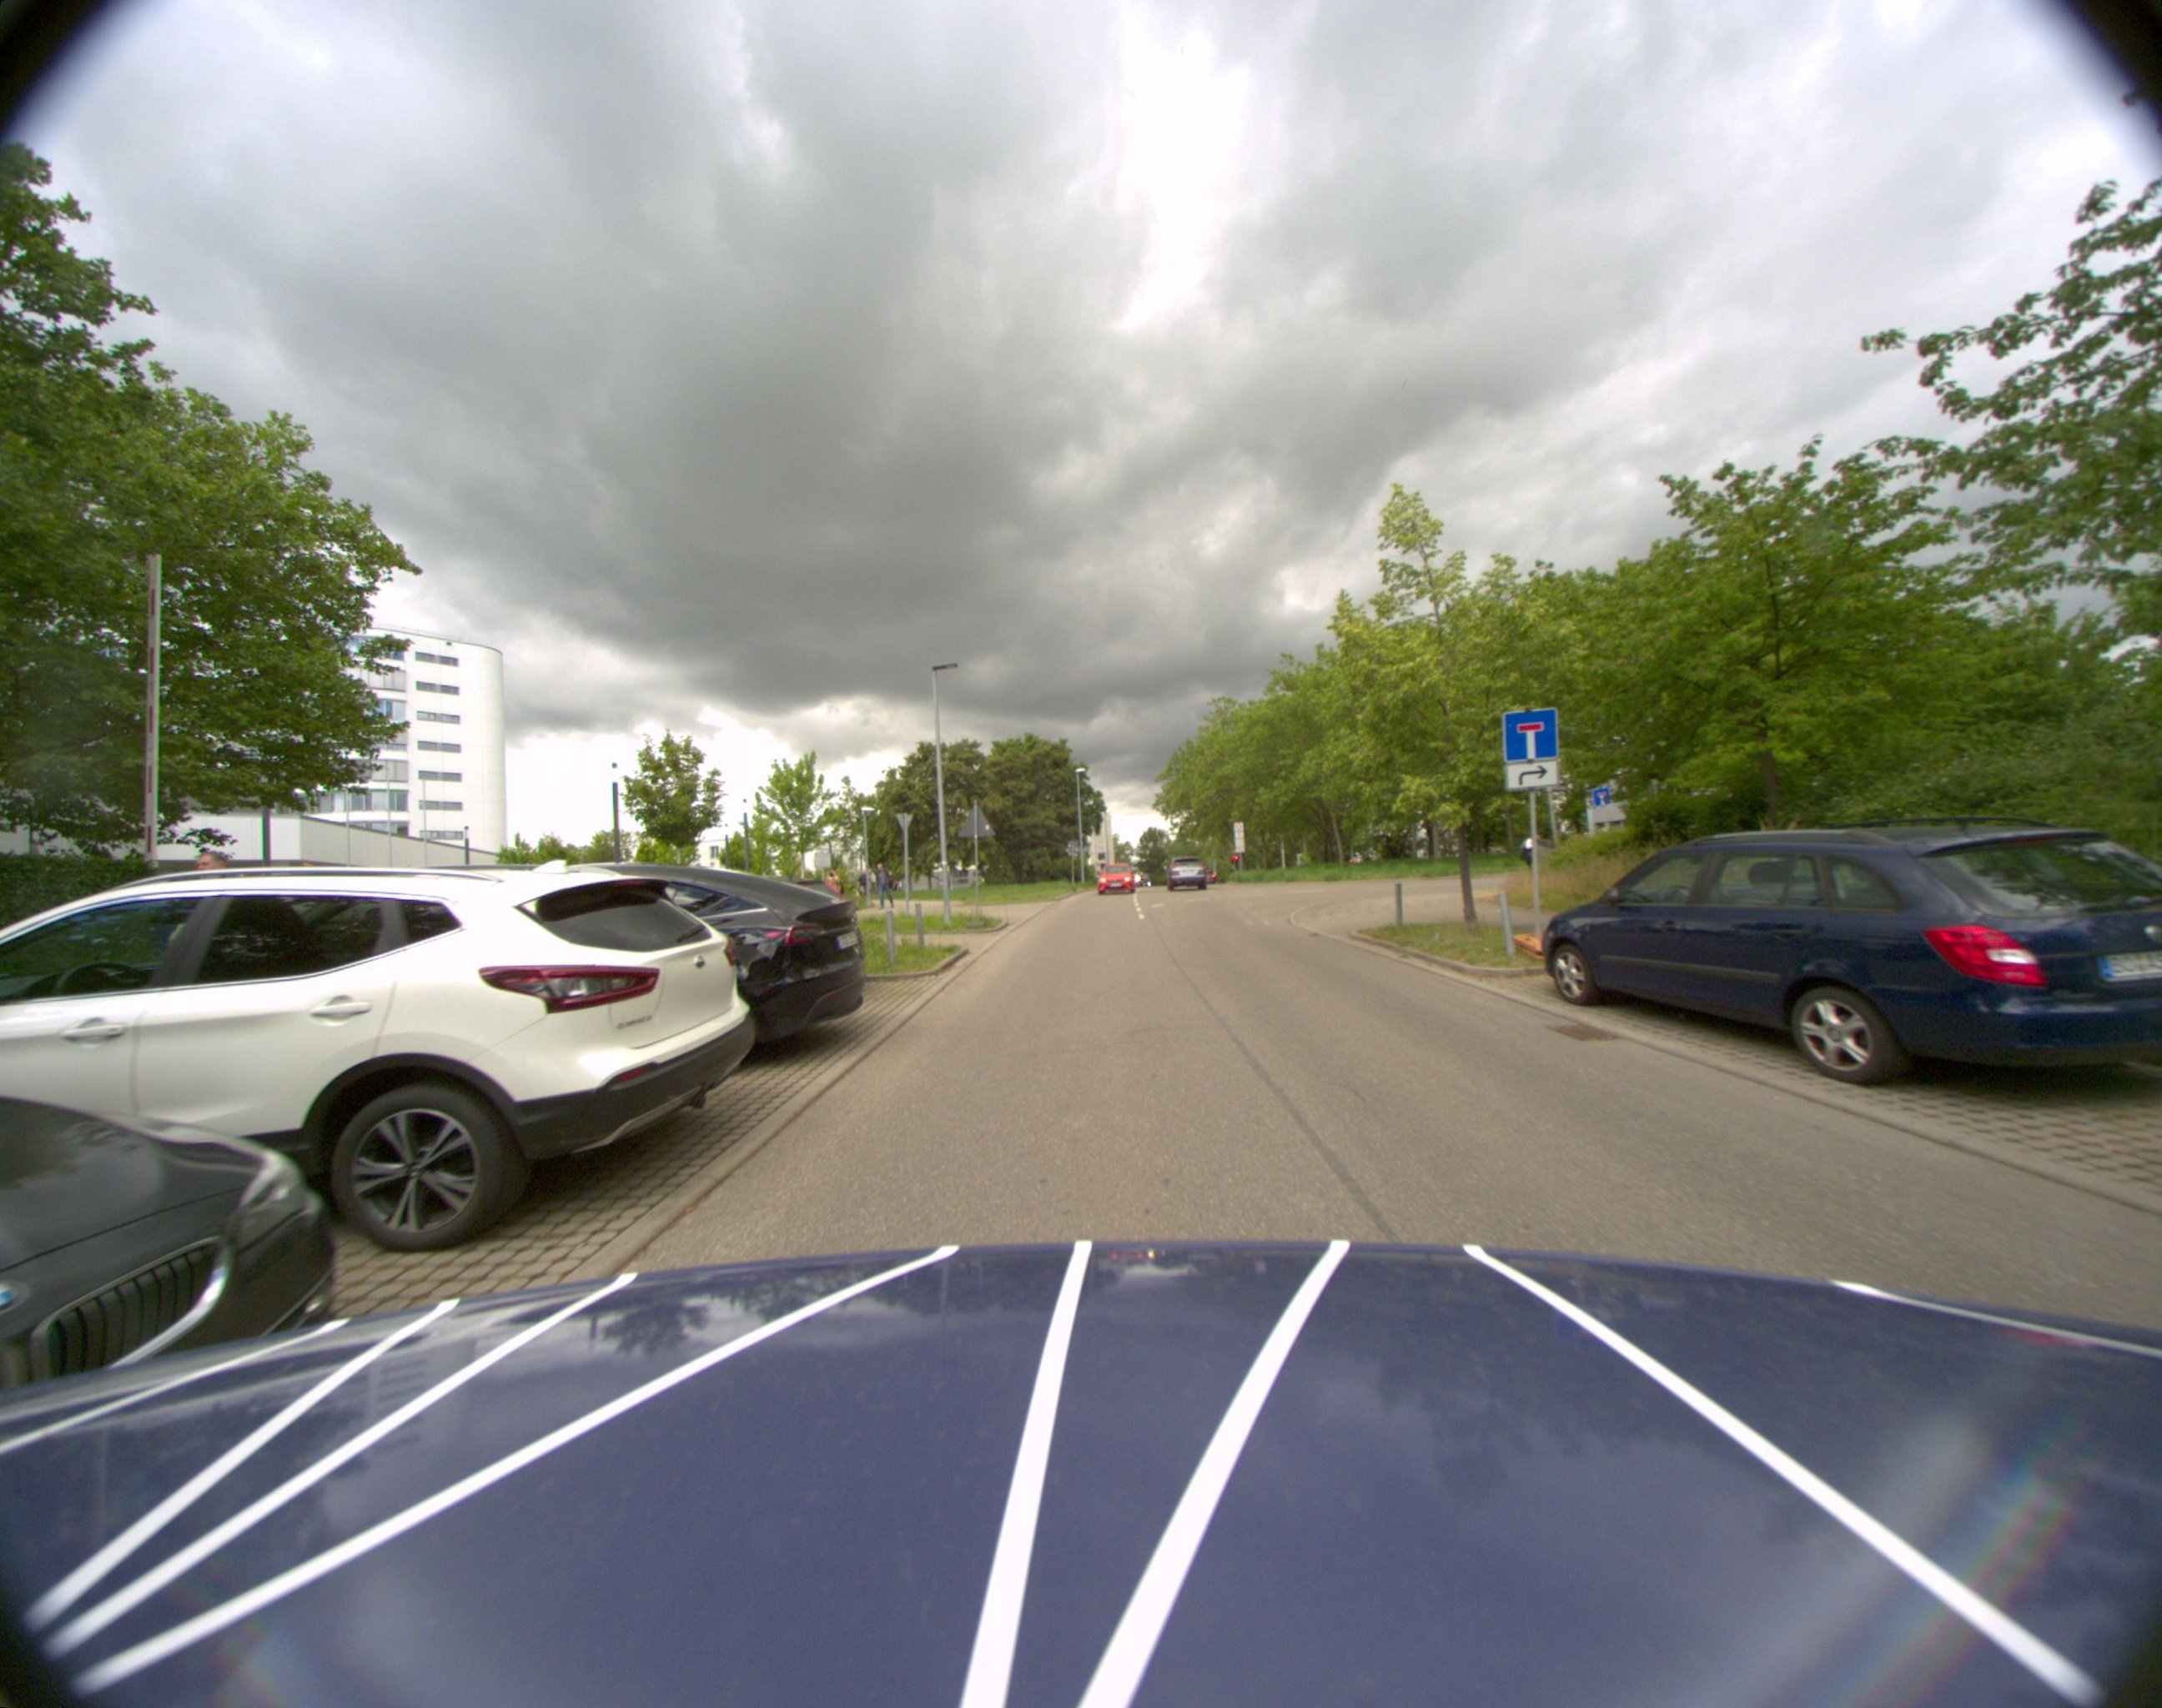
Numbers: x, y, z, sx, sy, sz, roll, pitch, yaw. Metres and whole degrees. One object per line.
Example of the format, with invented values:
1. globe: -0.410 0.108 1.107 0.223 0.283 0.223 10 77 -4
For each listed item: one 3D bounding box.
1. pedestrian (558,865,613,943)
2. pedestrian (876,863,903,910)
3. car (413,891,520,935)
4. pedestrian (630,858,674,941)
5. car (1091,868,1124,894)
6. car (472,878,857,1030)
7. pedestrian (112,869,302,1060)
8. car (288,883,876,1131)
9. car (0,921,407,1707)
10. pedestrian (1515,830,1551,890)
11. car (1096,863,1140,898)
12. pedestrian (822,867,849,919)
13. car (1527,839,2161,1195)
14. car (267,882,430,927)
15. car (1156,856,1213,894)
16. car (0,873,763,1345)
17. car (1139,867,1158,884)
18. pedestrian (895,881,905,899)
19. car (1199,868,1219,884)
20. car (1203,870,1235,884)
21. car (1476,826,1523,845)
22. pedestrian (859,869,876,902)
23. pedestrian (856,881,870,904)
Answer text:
1. pedestrian: -11.267 1.130 17.293 0.655 1.701 0.706 -3 0 8
2. pedestrian: -7.306 1.233 28.973 0.764 1.712 0.885 -3 0 -27
3. car: -32.916 3.105 40.846 4.004 2.001 1.997 -3 -1 -24
4. pedestrian: -8.790 0.919 15.579 0.690 1.611 0.930 -3 0 -28
5. car: 1.793 1.747 49.837 1.758 1.506 4.002 -3 -1 7
6. car: -4.801 1.125 9.087 3.678 1.489 1.646 -2 0 3
7. pedestrian: -8.808 1.063 7.702 0.833 1.782 0.878 -3 0 2
8. car: -3.762 1.130 6.147 3.678 1.565 1.593 -2 1 3
9. car: -4.027 1.059 1.289 3.997 1.510 1.884 -3 0 0
10. pedestrian: 12.626 0.186 21.225 0.718 1.600 0.635 -5 -3 28
11. car: 1.853 1.276 36.999 1.758 1.506 4.003 -3 -2 7
12. pedestrian: -8.076 1.270 24.990 0.652 1.659 0.897 -3 0 -11
13. car: 5.182 0.752 5.396 1.694 1.478 3.954 -6 -1 2
14. car: -28.092 1.905 29.309 4.122 1.382 1.707 -3 -1 -19
15. car: 5.038 1.005 37.642 1.901 1.573 4.167 -6 -1 -3
16. car: -3.821 0.996 3.717 3.678 1.637 1.852 -2 0 4
17. car: 6.880 2.179 77.236 1.758 1.506 4.002 -3 -1 7
18. pedestrian: -14.472 2.866 60.727 0.676 1.406 0.666 -3 0 -19
19. car: 13.101 2.224 77.875 1.758 1.506 4.002 -3 -1 7
20. car: 17.135 2.795 94.467 3.654 1.521 1.629 -3 -1 3
21. car: 39.062 -1.723 70.847 4.004 1.455 1.651 -3 -1 -23
22. pedestrian: -10.719 1.578 38.133 0.639 1.634 0.603 -3 0 -27
23. pedestrian: -15.624 2.737 54.428 0.675 1.597 0.668 -3 0 6
